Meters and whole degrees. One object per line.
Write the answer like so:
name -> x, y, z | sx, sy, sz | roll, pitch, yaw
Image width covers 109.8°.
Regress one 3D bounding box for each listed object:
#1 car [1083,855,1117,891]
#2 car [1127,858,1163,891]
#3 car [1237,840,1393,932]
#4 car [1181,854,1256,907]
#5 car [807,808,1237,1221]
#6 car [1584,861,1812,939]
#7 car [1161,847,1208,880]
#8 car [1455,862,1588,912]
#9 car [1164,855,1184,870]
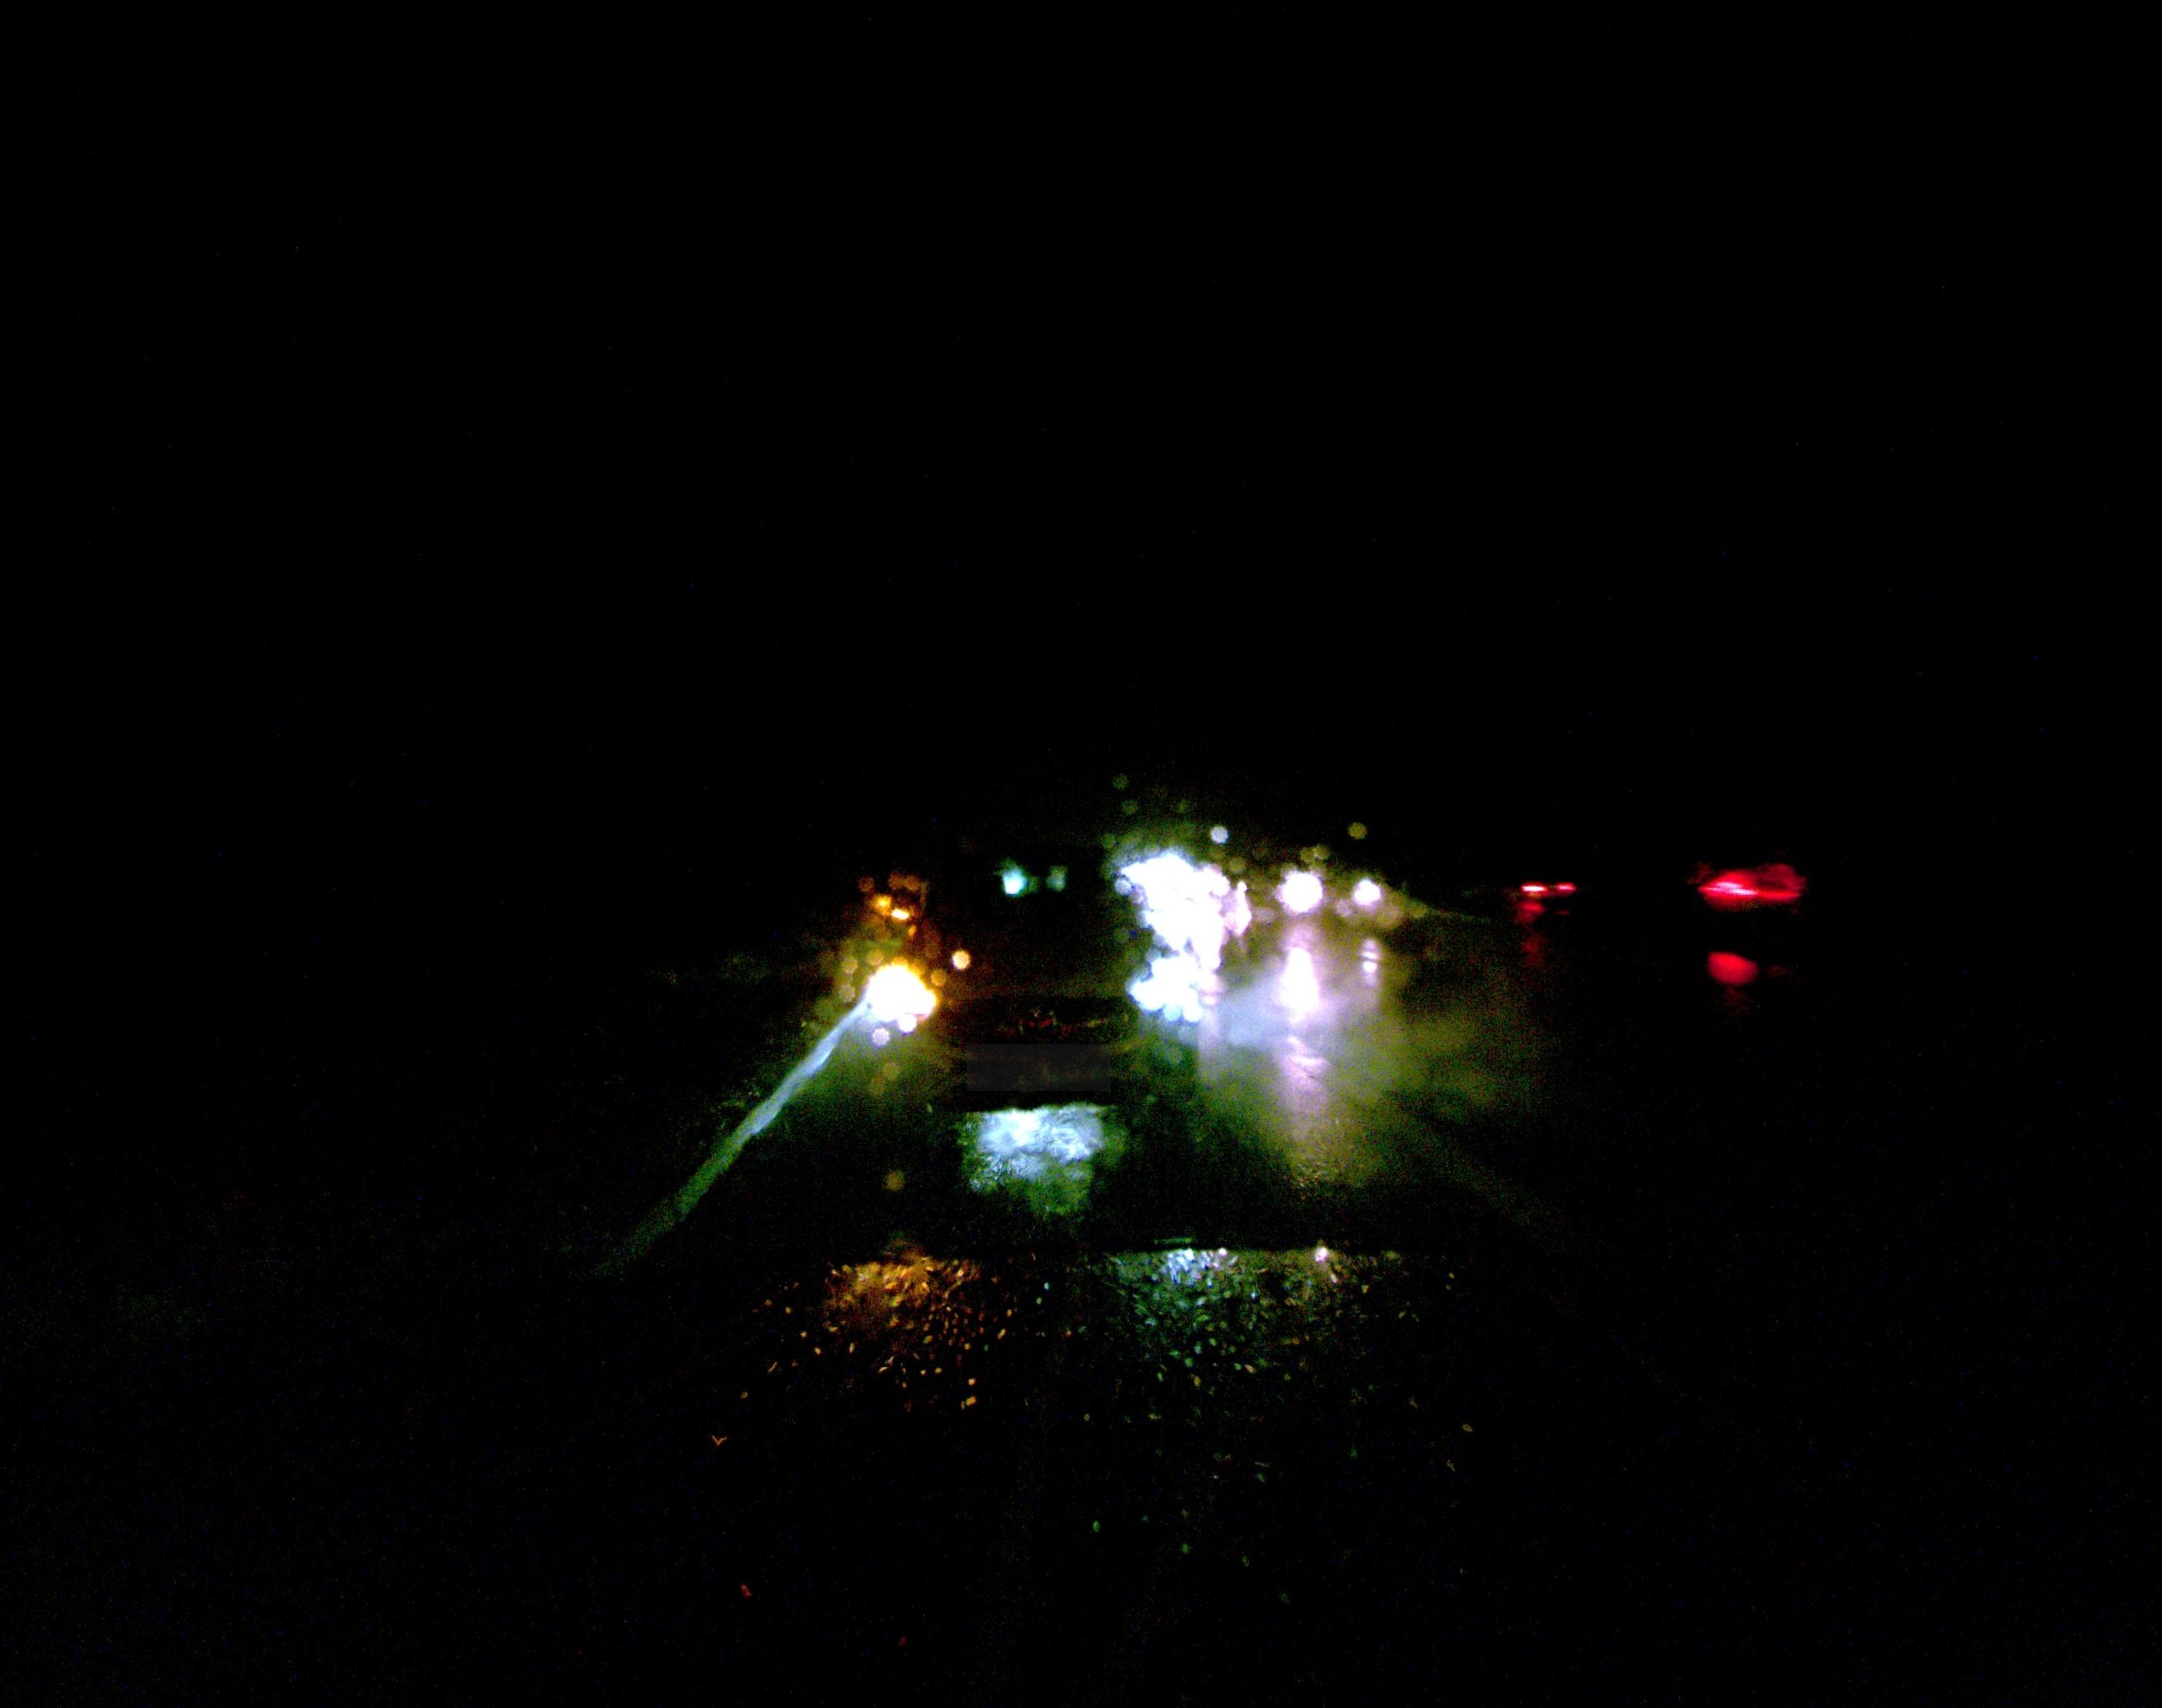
car -> 1.043, 1.016, 42.907 | 1.781, 1.820, 4.557 | -2, 1, 1
car -> 3.882, 1.232, 46.713 | 1.746, 1.791, 4.080 | -2, 1, -1
car -> 5.229, 0.692, 17.730 | 1.999, 1.782, 4.721 | -2, -1, -2
car -> 4.786, 0.862, 27.061 | 1.788, 1.586, 4.235 | 0, 2, -2
car -> -0.368, 0.737, 5.829 | 2.004, 1.914, 4.367 | -2, 1, -3
car -> 15.525, 1.072, 19.499 | 1.907, 1.710, 4.457 | 0, 0, -7
car -> 4.897, 0.414, 36.483 | 1.680, 1.437, 4.174 | -2, 1, 0
car -> 16.981, 1.203, 29.639 | 2.035, 1.781, 4.784 | -1, 0, -6
car -> 12.295, 1.104, 100.814 | 1.858, 1.728, 4.637 | -2, 1, -2
